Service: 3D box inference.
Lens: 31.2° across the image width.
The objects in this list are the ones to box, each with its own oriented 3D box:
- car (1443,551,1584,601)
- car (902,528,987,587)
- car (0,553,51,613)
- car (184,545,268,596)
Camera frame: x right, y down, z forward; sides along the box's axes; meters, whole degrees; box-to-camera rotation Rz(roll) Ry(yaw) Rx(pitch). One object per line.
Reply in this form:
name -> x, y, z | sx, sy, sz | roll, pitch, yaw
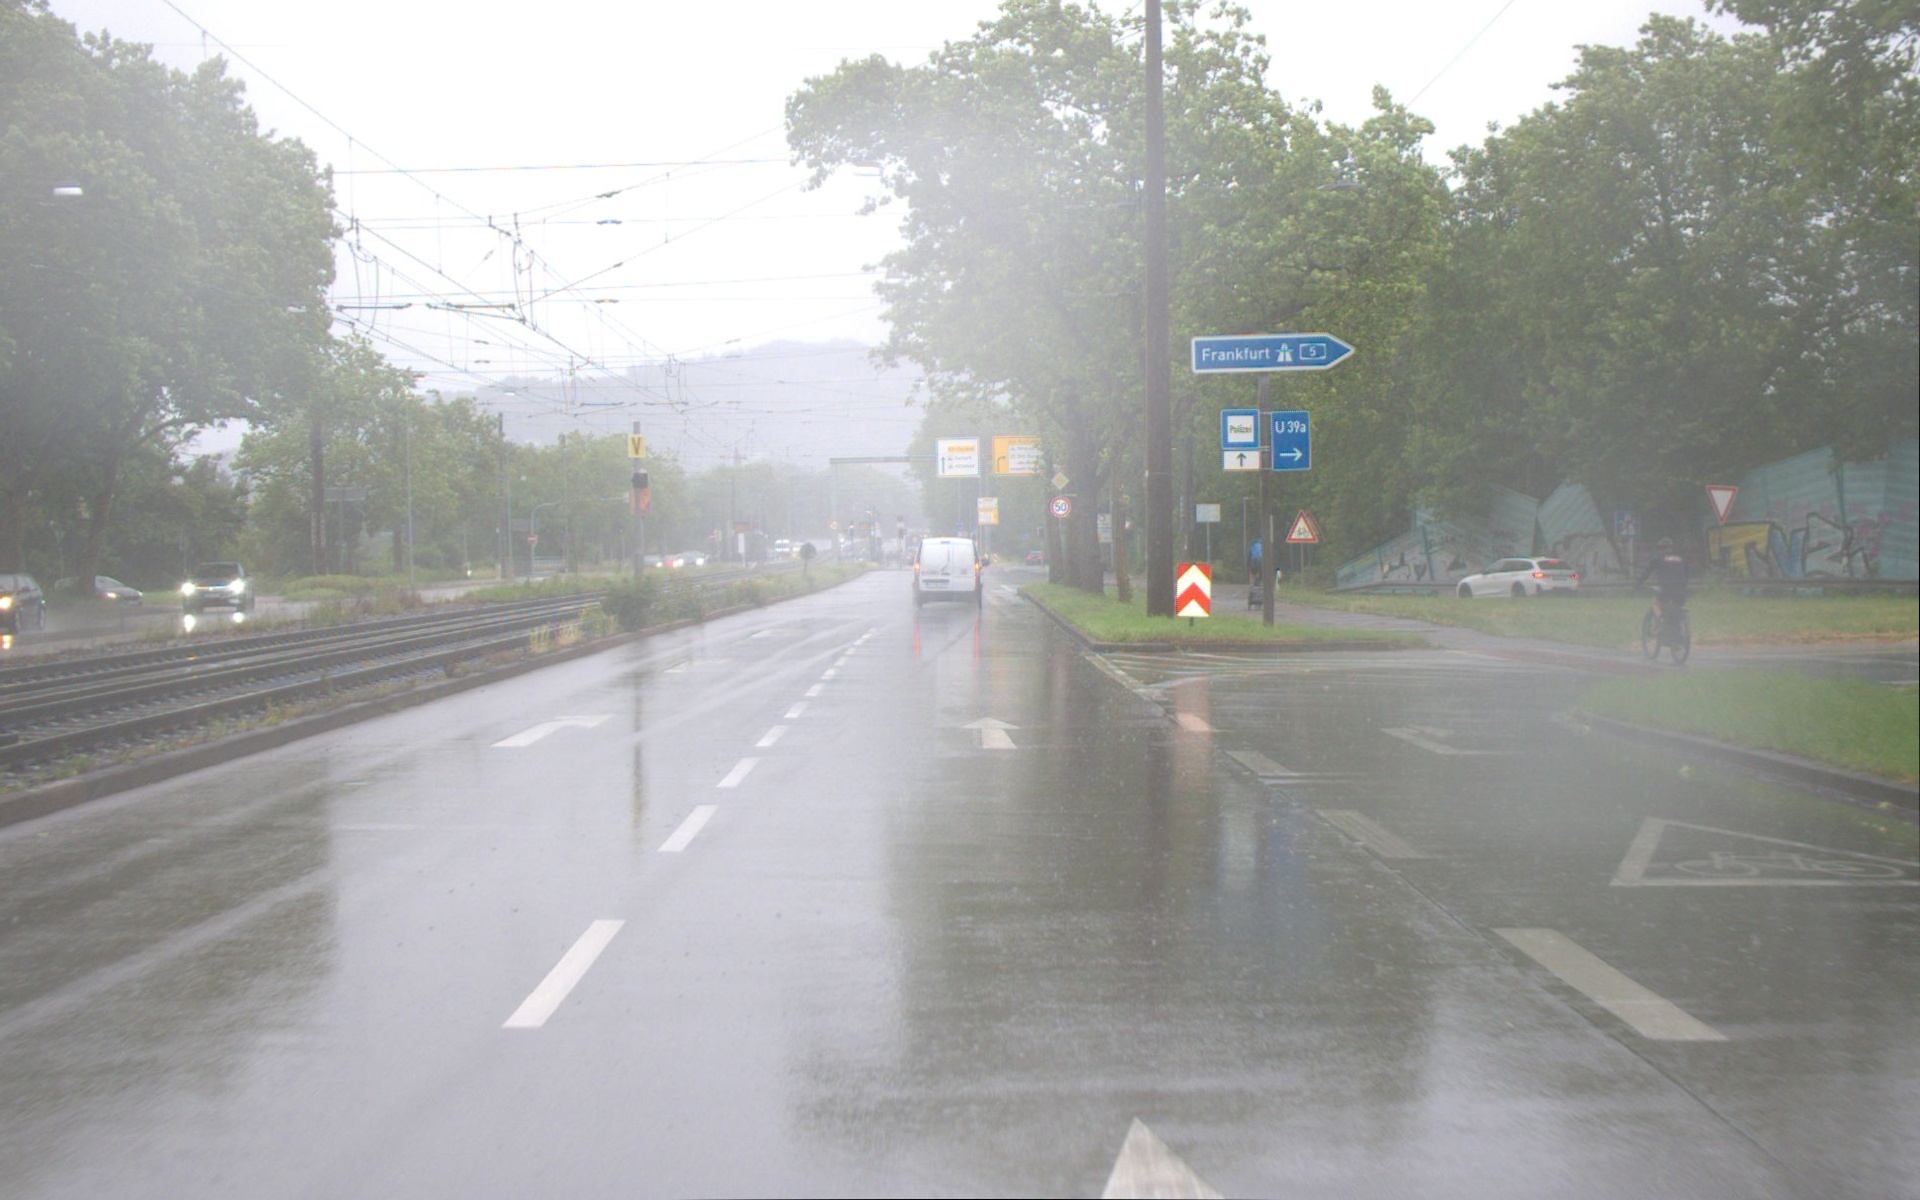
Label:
car -> 17.269, -0.764, 107.416 | 1.948, 1.531, 4.467 | -1, 1, -30
car -> -0.401, -1.078, 87.368 | 2.077, 1.415, 4.000 | -1, 1, -1
car -> -22.339, -0.402, 79.138 | 1.771, 1.326, 4.381 | 0, 1, -2
car -> -22.646, -0.925, 106.190 | 1.690, 1.518, 4.956 | 0, 1, -2
